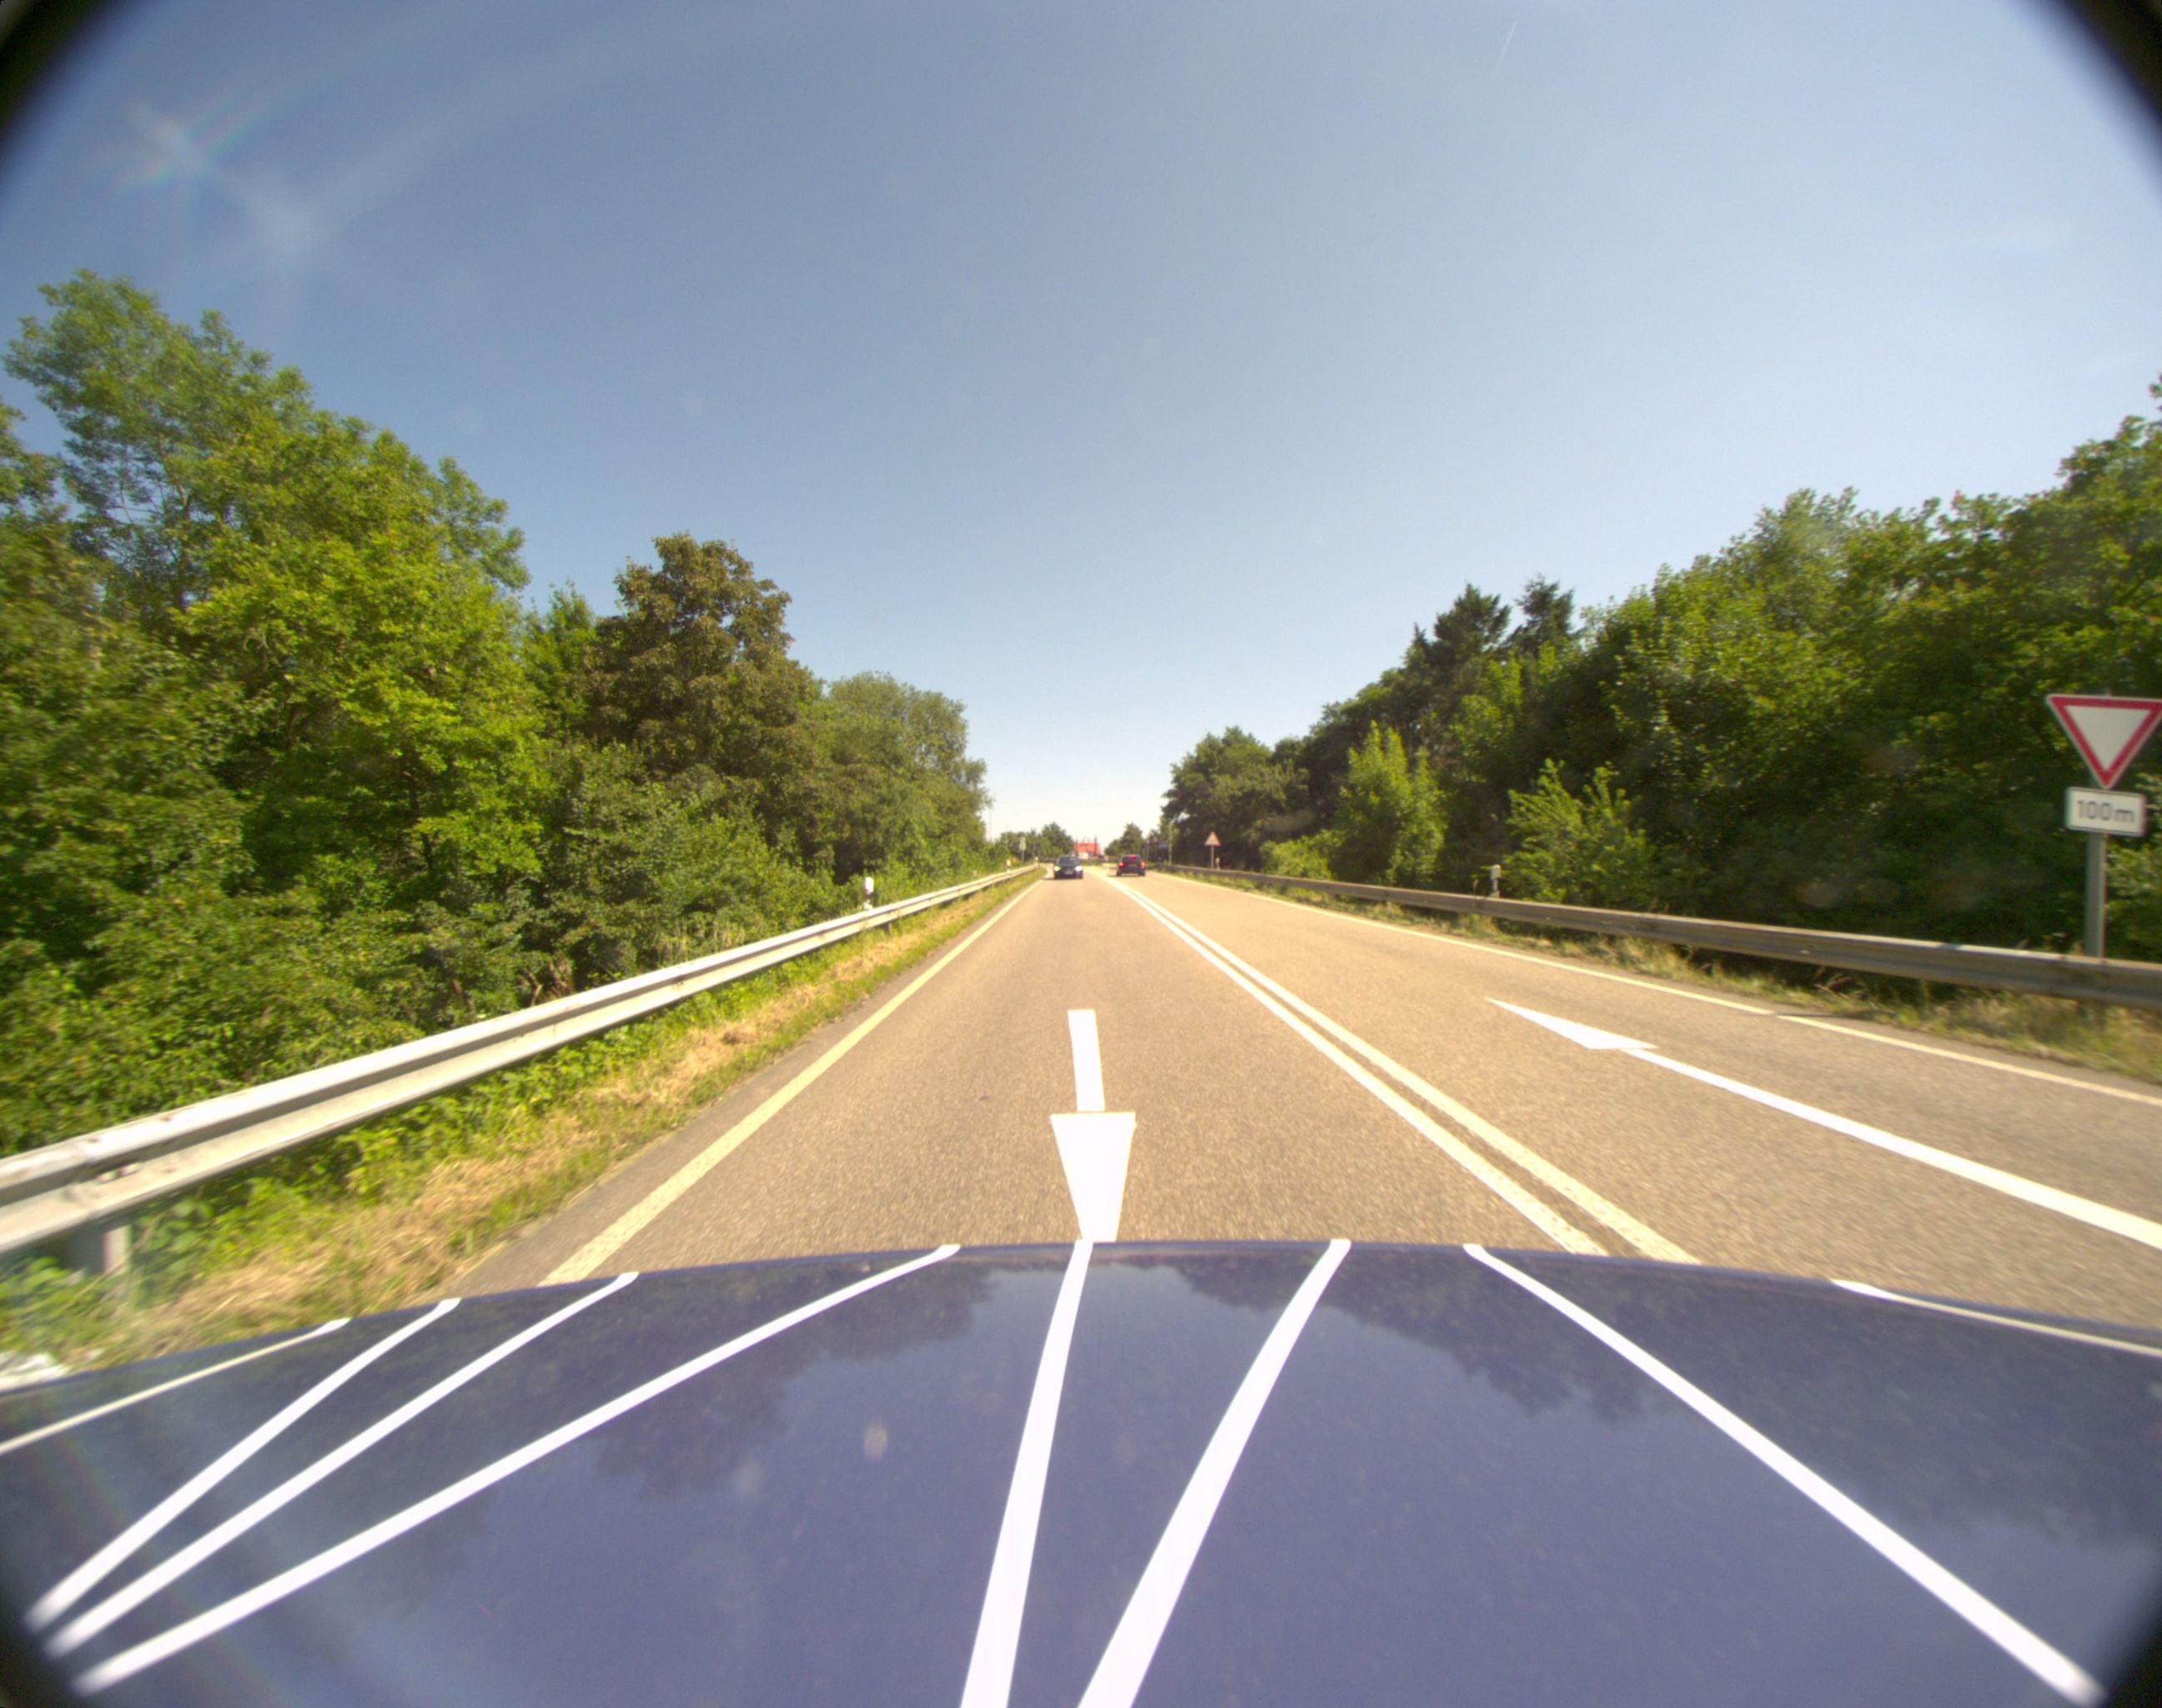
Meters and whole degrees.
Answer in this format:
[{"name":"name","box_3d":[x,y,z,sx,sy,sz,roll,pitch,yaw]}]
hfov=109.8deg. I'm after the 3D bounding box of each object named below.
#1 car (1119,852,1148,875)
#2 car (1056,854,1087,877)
[{"name":"car","box_3d":[3.473,0.615,50.791,1.611,1.464,4.219,0,1,0]},{"name":"car","box_3d":[-0.576,0.700,47.345,1.807,1.390,4.180,0,0,0]}]
